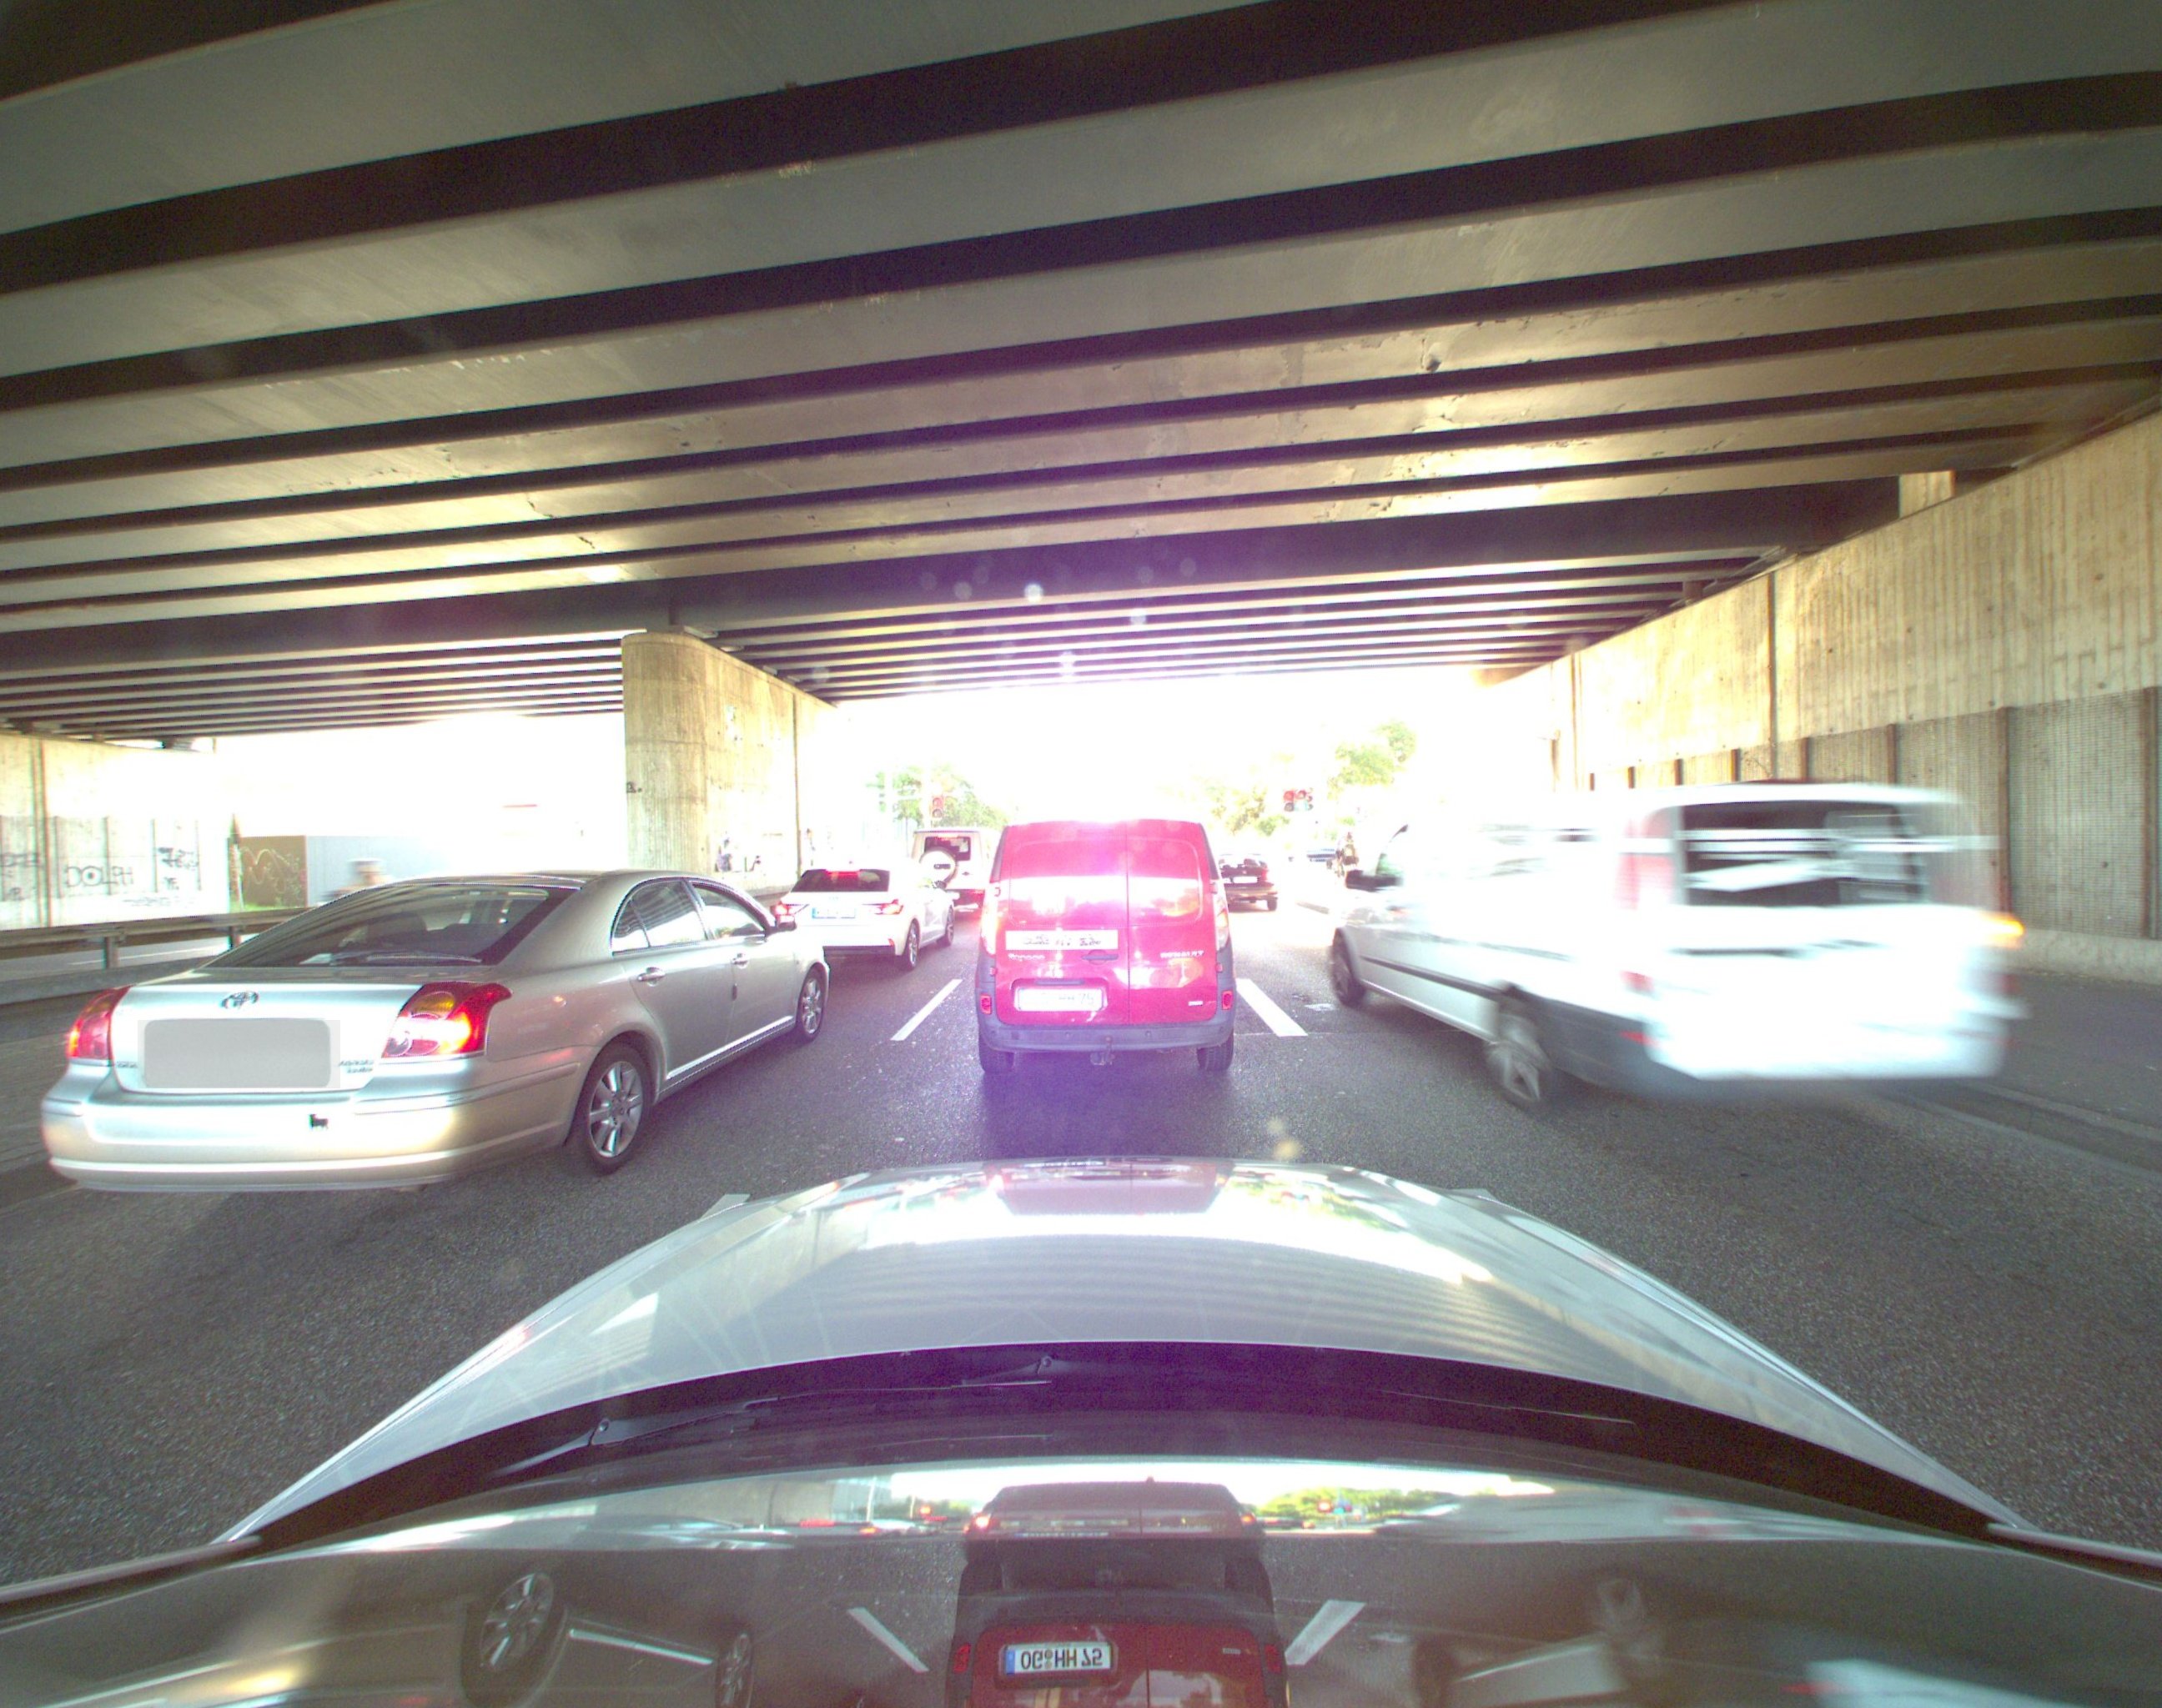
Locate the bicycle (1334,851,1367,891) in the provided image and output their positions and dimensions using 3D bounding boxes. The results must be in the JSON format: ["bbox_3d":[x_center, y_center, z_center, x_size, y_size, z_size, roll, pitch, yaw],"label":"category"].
[{"bbox_3d":[7.150,0.438,21.625,0.672,1.024,1.534,0,0,12],"label":"bicycle"}]

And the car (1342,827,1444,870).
[{"bbox_3d":[14.560,-0.300,38.016,4.299,1.833,1.808,-2,1,-19],"label":"car"}]

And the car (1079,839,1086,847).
[{"bbox_3d":[0.382,-2.778,207.829,1.741,2.014,3.846,0,0,2],"label":"car"}]

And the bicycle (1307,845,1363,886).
[{"bbox_3d":[7.882,0.335,25.179,0.758,1.146,2.485,-2,0,38],"label":"bicycle"}]

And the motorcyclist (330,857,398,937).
[{"bbox_3d":[-14.094,0.832,16.029,0.694,1.527,0.698,-1,0,1],"label":"motorcyclist"}]

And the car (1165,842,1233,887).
[{"bbox_3d":[4.106,0.336,28.988,1.740,1.456,4.663,0,0,0],"label":"car"}]

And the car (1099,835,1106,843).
[{"bbox_3d":[5.787,-4.024,220.878,1.986,2.014,4.001,0,0,2],"label":"car"}]

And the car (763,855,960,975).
[{"bbox_3d":[-2.921,0.736,11.688,1.686,1.410,3.814,0,0,1],"label":"car"}]

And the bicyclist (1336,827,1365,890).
[{"bbox_3d":[7.160,0.119,21.660,0.673,1.629,0.646,0,-1,12],"label":"bicyclist"}]

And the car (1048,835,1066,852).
[{"bbox_3d":[-3.069,-1.306,104.231,1.986,2.014,4.001,0,0,2],"label":"car"}]

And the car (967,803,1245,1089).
[{"bbox_3d":[0.218,0.568,7.055,1.712,1.764,4.002,0,0,2],"label":"car"}]

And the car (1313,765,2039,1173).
[{"bbox_3d":[3.420,0.512,6.139,1.892,1.836,4.833,0,0,-1],"label":"car"}]

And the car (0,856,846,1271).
[{"bbox_3d":[-3.007,0.759,5.123,1.690,1.455,4.399,0,0,1],"label":"car"}]

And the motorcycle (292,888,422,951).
[{"bbox_3d":[-14.092,1.245,15.945,0.690,1.027,2.010,-1,1,2],"label":"motorcycle"}]

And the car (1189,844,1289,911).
[{"bbox_3d":[3.738,0.517,19.824,1.740,1.456,3.716,0,0,0],"label":"car"}]

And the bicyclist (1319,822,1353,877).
[{"bbox_3d":[7.920,-0.141,25.260,0.739,1.655,0.892,-1,-1,38],"label":"bicyclist"}]

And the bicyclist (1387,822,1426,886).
[{"bbox_3d":[8.258,0.002,20.703,0.667,1.561,0.735,-2,-1,2],"label":"bicyclist"}]

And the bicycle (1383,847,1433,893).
[{"bbox_3d":[8.274,0.402,20.679,0.678,1.113,1.605,-2,0,3],"label":"bicycle"}]

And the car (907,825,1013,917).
[{"bbox_3d":[-2.709,0.351,19.030,1.807,1.904,3.814,0,0,1],"label":"car"}]
